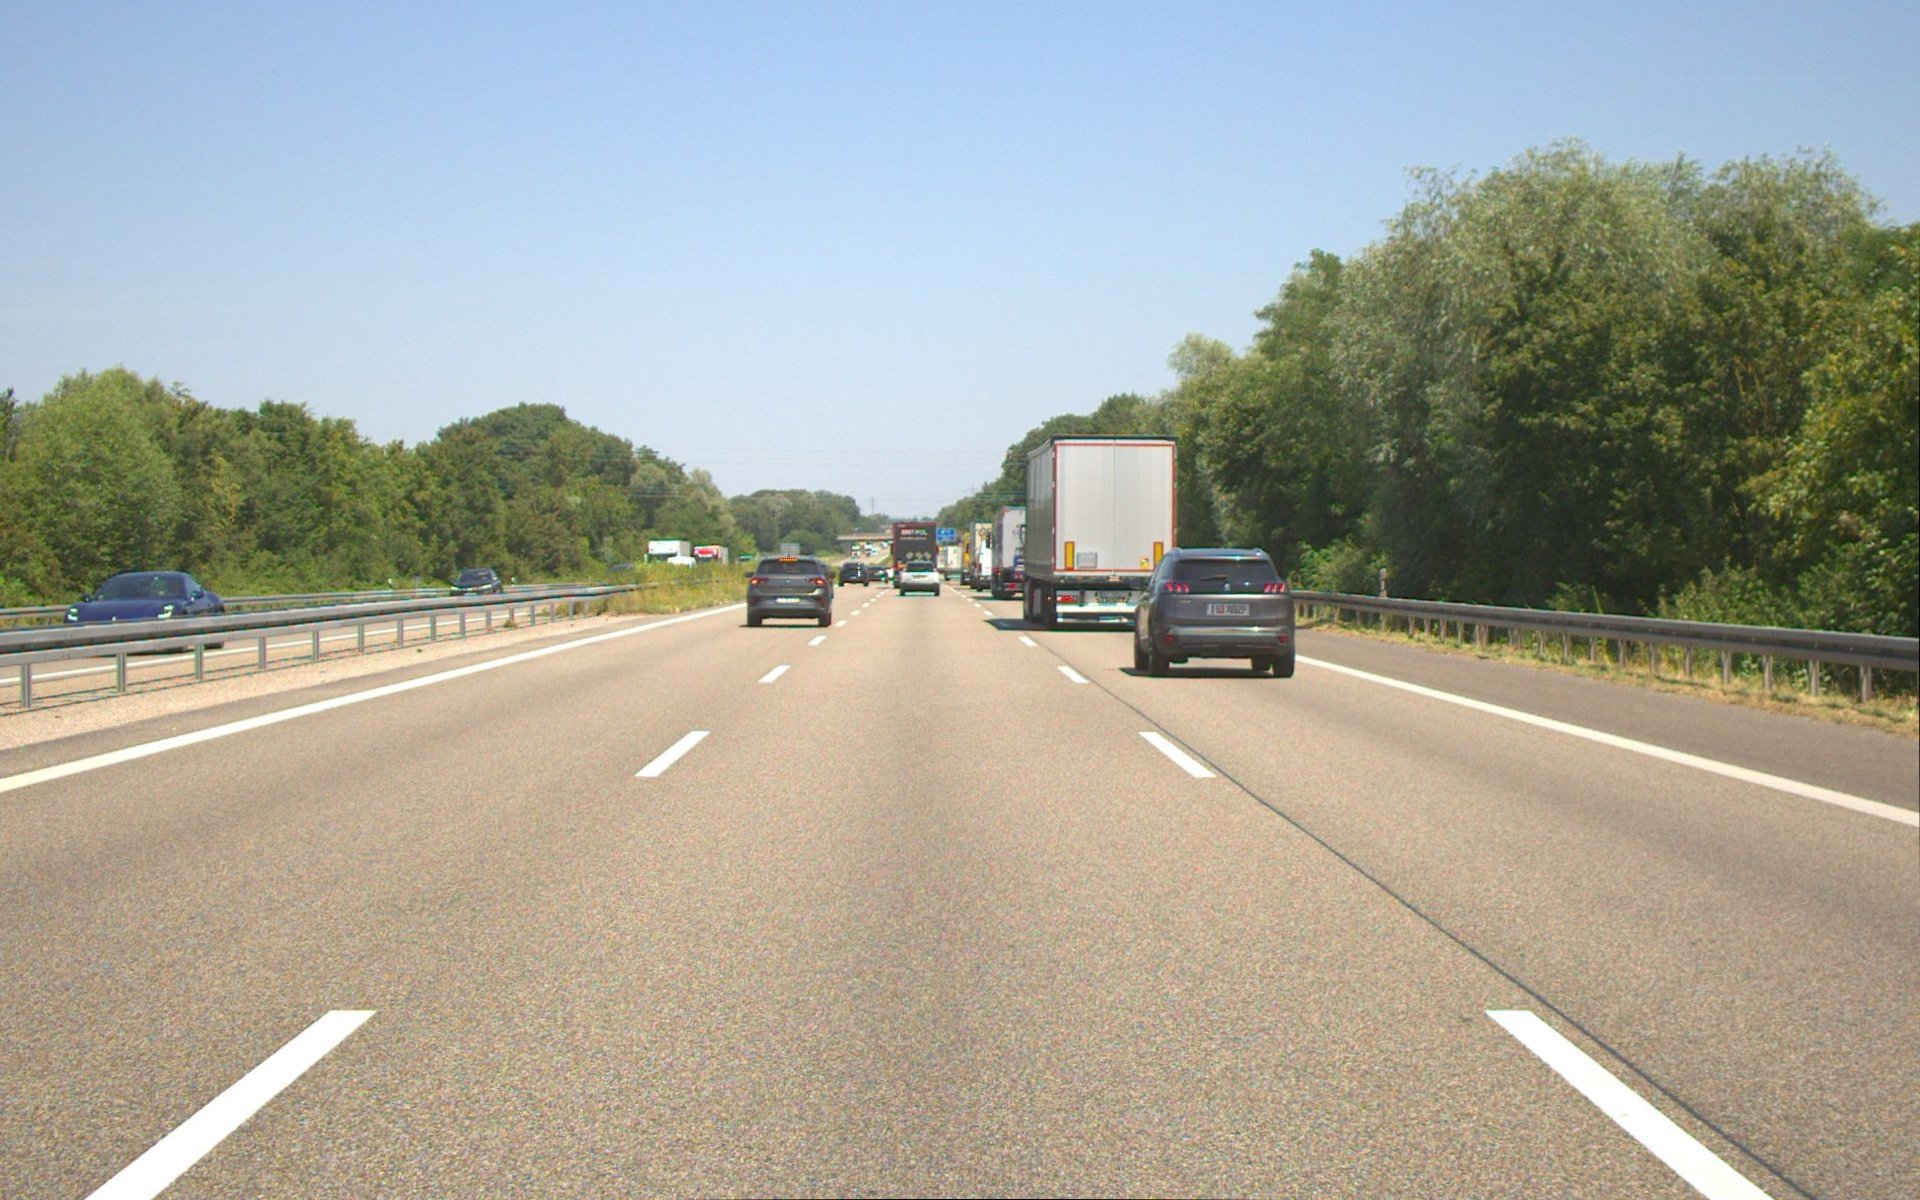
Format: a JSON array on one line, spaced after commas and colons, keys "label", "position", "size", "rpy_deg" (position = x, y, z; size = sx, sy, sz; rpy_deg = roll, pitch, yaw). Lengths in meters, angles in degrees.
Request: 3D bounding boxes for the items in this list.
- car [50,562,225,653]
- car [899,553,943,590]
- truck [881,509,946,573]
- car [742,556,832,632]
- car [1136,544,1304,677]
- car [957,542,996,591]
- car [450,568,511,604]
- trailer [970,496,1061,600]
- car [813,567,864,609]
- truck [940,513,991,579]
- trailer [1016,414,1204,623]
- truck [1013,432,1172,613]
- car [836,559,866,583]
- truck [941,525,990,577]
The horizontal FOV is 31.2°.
[{"label": "car", "position": [-13.810, 0.101, 57.956], "size": [1.850, 1.390, 4.743], "rpy_deg": [-2, 1, -1]}, {"label": "car", "position": [-1.715, -1.288, 151.983], "size": [1.900, 1.525, 4.084], "rpy_deg": [1, 1, -1]}, {"label": "truck", "position": [-2.794, -3.562, 207.159], "size": [3.667, 3.713, 7.108], "rpy_deg": [1, 1, 1]}, {"label": "car", "position": [-3.746, -0.149, 75.158], "size": [1.759, 1.525, 4.286], "rpy_deg": [1, 1, -1]}, {"label": "car", "position": [3.311, 0.093, 44.416], "size": [1.845, 1.623, 4.135], "rpy_deg": [0, 1, 0]}, {"label": "car", "position": [0.845, -1.770, 178.649], "size": [1.907, 2.417, 4.286], "rpy_deg": [1, 1, -1]}, {"label": "car", "position": [-19.460, -0.585, 139.623], "size": [1.862, 1.396, 4.532], "rpy_deg": [-2, 1, -1]}, {"label": "trailer", "position": [2.119, -2.097, 135.963], "size": [3.122, 3.913, 9.937], "rpy_deg": [1, 1, -1]}, {"label": "car", "position": [-4.802, -0.491, 136.512], "size": [1.900, 1.525, 4.084], "rpy_deg": [1, 1, -1]}, {"label": "truck", "position": [0.318, -3.133, 197.832], "size": [2.792, 3.713, 7.108], "rpy_deg": [1, 1, 1]}, {"label": "trailer", "position": [3.140, -1.719, 76.428], "size": [3.434, 4.167, 13.633], "rpy_deg": [1, 1, 0]}, {"label": "truck", "position": [3.161, -1.817, 83.936], "size": [3.464, 4.163, 6.844], "rpy_deg": [1, 0, 0]}, {"label": "car", "position": [-7.431, -1.977, 233.982], "size": [1.907, 1.525, 4.286], "rpy_deg": [1, 1, -1]}, {"label": "truck", "position": [0.417, -3.647, 255.602], "size": [3.489, 3.713, 7.108], "rpy_deg": [1, 1, 1]}]
